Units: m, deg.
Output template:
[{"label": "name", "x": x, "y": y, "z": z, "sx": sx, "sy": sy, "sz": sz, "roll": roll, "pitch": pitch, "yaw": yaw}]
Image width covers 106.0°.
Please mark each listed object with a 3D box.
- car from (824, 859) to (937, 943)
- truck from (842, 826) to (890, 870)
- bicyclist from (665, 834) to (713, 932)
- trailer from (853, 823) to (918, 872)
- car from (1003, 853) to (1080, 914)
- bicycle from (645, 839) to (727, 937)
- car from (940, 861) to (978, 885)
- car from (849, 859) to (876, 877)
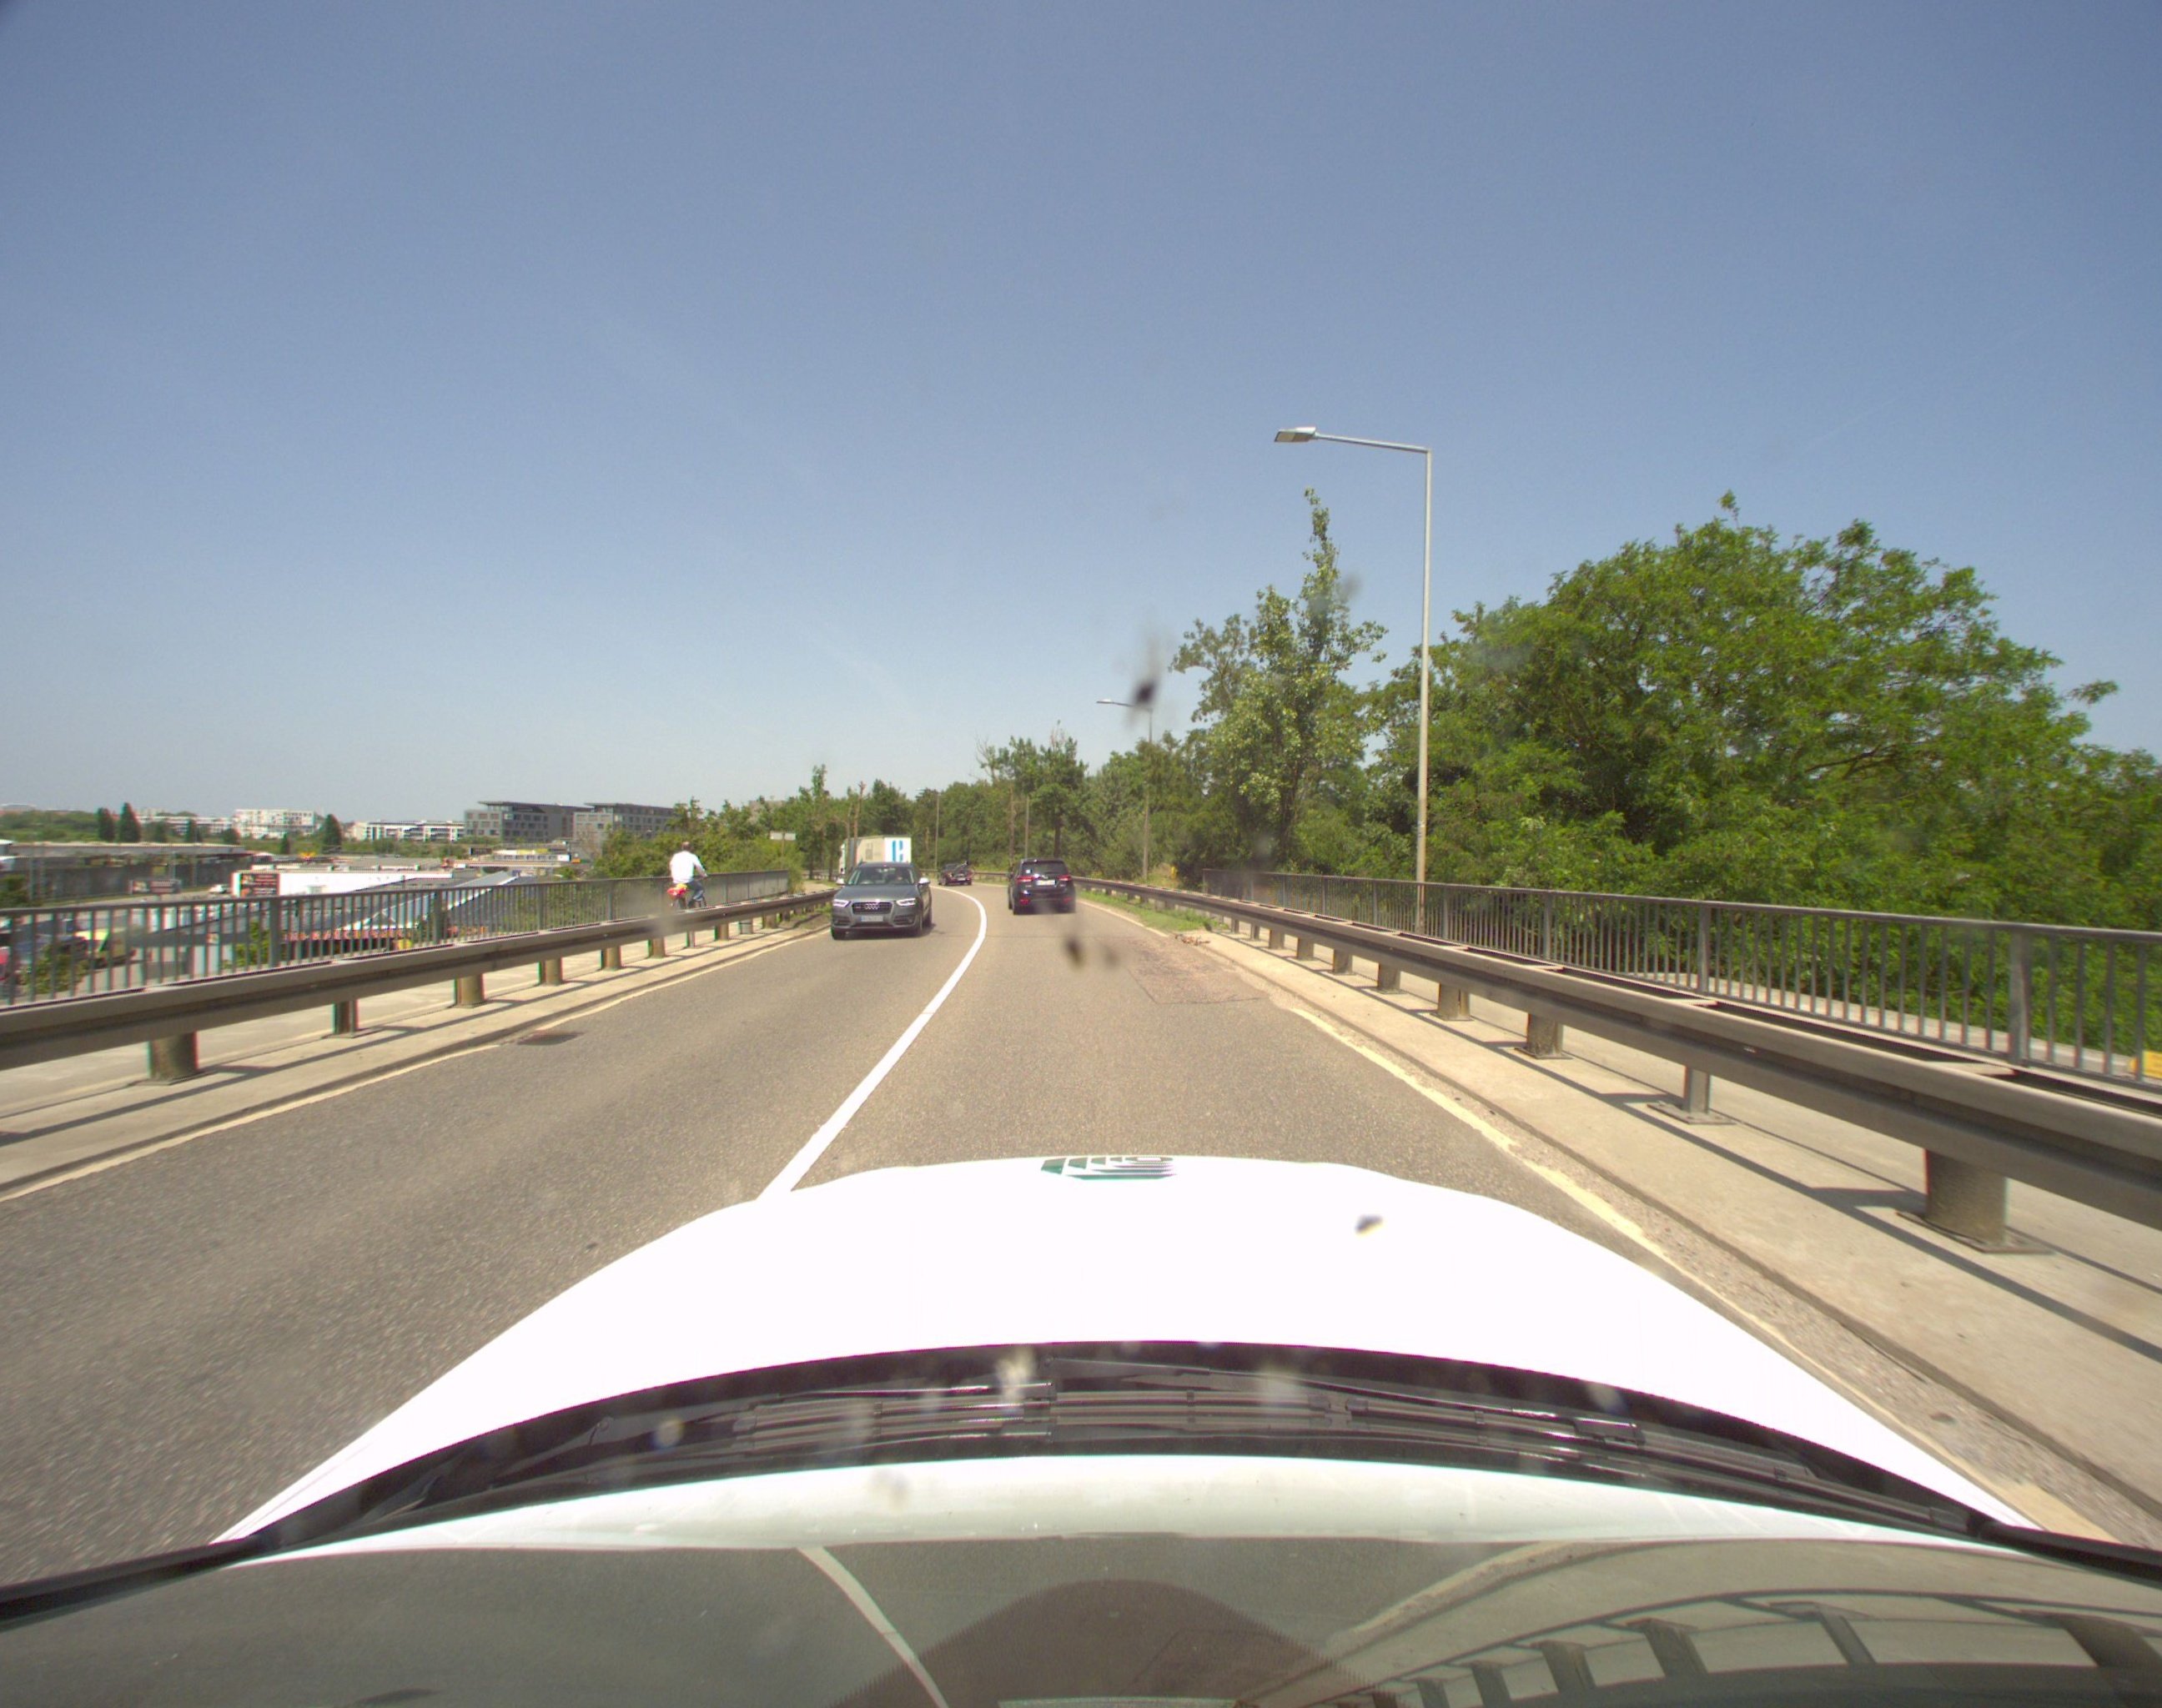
[{"label": "car", "x": -4.236, "y": 0.916, "z": 17.854, "sx": 1.820, "sy": 1.537, "sz": 4.186, "roll": 0, "pitch": 1, "yaw": -6}, {"label": "truck", "x": -22.539, "y": -0.641, "z": 85.291, "sx": 3.592, "sy": 4.440, "sz": 6.458, "roll": -1, "pitch": 1, "yaw": -27}, {"label": "bicyclist", "x": -7.772, "y": 0.554, "z": 16.166, "sx": 0.623, "sy": 1.886, "sz": 0.711, "roll": 0, "pitch": 0, "yaw": -6}, {"label": "trailer", "x": -18.988, "y": -0.625, "z": 78.459, "sx": 3.589, "sy": 4.384, "sz": 11.341, "roll": -1, "pitch": 1, "yaw": -27}, {"label": "car", "x": -1.237, "y": 0.801, "z": 23.991, "sx": 1.920, "sy": 1.574, "sz": 3.881, "roll": -1, "pitch": 1, "yaw": -8}, {"label": "bicycle", "x": -7.761, "y": 0.611, "z": 16.132, "sx": 0.697, "sy": 1.801, "sz": 2.177, "roll": 0, "pitch": 1, "yaw": -5}, {"label": "car", "x": -7.967, "y": 1.192, "z": 52.907, "sx": 2.015, "sy": 1.429, "sz": 3.757, "roll": -1, "pitch": 1, "yaw": -15}, {"label": "car", "x": -18.424, "y": 1.161, "z": 68.654, "sx": 1.683, "sy": 1.443, "sz": 4.098, "roll": -1, "pitch": 0, "yaw": -22}]
